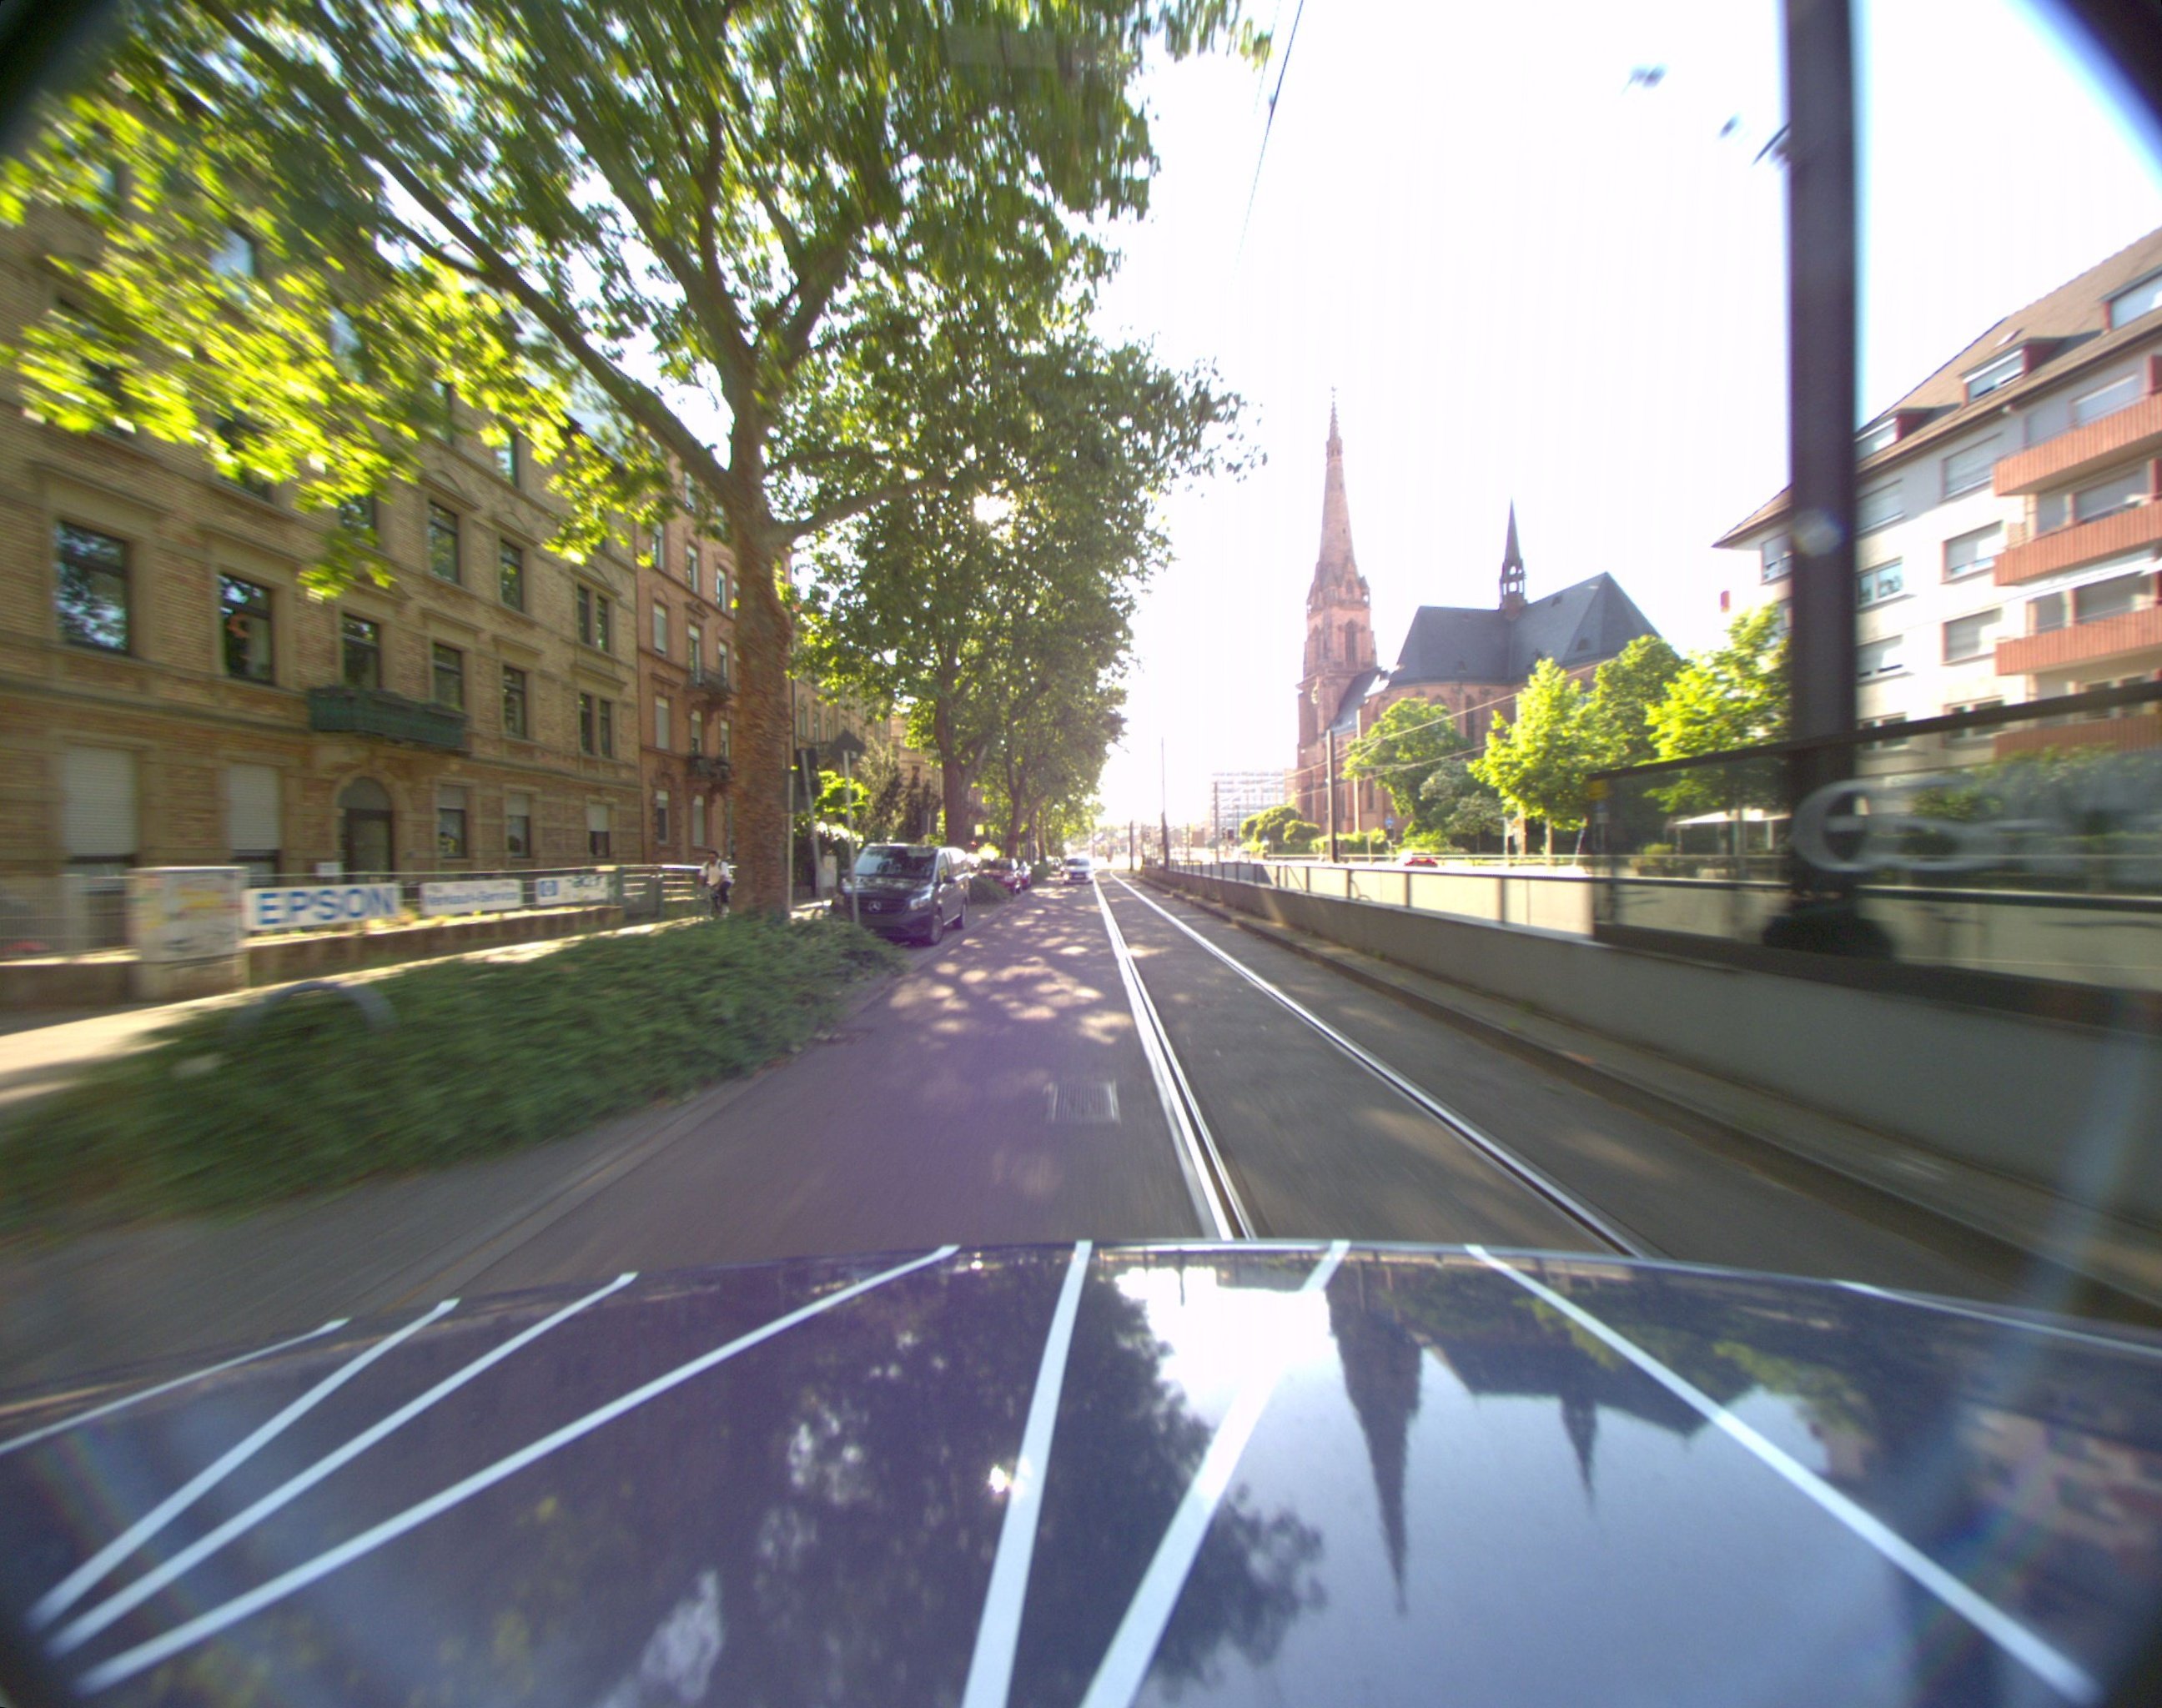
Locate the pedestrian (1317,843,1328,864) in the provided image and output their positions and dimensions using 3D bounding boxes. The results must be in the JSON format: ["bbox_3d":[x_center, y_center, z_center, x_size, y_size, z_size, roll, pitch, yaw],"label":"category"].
[{"bbox_3d":[19.897,-0.021,62.585,0.494,1.663,0.754,-4,1,-14],"label":"pedestrian"}]

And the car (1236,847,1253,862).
[{"bbox_3d":[22.752,0.104,105.704,1.997,2.002,5.015,1,1,9],"label":"car"}]

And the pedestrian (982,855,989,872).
[{"bbox_3d":[-8.439,0.846,67.217,0.540,1.540,0.607,-1,-2,-1],"label":"pedestrian"}]

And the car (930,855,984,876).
[{"bbox_3d":[-11.330,1.032,69.681,4.560,1.530,1.907,-5,1,-1],"label":"car"}]

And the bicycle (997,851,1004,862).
[{"bbox_3d":[-7.690,0.268,72.900,0.562,1.031,1.932,-4,-1,-7],"label":"bicycle"}]

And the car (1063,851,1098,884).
[{"bbox_3d":[0.014,0.744,42.536,1.823,1.728,4.001,0,0,2],"label":"car"}]

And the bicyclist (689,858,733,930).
[{"bbox_3d":[-7.230,0.771,14.862,0.544,1.372,0.644,-1,0,-1],"label":"bicyclist"}]

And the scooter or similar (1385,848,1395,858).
[{"bbox_3d":[30.453,-0.066,74.817,0.309,0.930,0.919,-4,1,-21],"label":"scooter or similar"}]

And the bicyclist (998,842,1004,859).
[{"bbox_3d":[-7.670,-0.358,72.749,0.544,1.616,0.644,0,0,-4],"label":"bicyclist"}]

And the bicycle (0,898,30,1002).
[{"bbox_3d":[-13.031,1.099,8.546,1.867,1.147,0.476,-1,1,4],"label":"bicycle"}]

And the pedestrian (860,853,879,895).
[{"bbox_3d":[-8.258,0.775,29.692,0.531,1.618,0.618,0,0,1],"label":"pedestrian"}]

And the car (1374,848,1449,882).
[{"bbox_3d":[16.812,0.524,38.880,1.975,1.495,4.408,-4,0,3],"label":"car"}]

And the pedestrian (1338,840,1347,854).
[{"bbox_3d":[28.983,-0.787,84.191,0.587,1.480,0.946,-4,1,-3],"label":"pedestrian"}]

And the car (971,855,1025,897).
[{"bbox_3d":[-3.390,0.856,31.839,1.719,1.540,4.500,0,1,0],"label":"car"}]

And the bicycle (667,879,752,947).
[{"bbox_3d":[-7.226,1.106,14.905,0.562,1.171,2.226,-2,0,-1],"label":"bicycle"}]

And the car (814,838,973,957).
[{"bbox_3d":[-3.553,0.758,15.497,1.999,2.002,5.201,-1,0,-1],"label":"car"}]

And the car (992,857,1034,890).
[{"bbox_3d":[-3.340,0.934,37.839,1.719,1.454,3.999,-1,1,0],"label":"car"}]

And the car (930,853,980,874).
[{"bbox_3d":[-12.446,0.927,74.984,4.559,1.835,1.907,-2,1,0],"label":"car"}]

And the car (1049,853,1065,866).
[{"bbox_3d":[-2.908,0.705,93.427,1.680,1.507,4.723,0,0,1],"label":"car"}]
